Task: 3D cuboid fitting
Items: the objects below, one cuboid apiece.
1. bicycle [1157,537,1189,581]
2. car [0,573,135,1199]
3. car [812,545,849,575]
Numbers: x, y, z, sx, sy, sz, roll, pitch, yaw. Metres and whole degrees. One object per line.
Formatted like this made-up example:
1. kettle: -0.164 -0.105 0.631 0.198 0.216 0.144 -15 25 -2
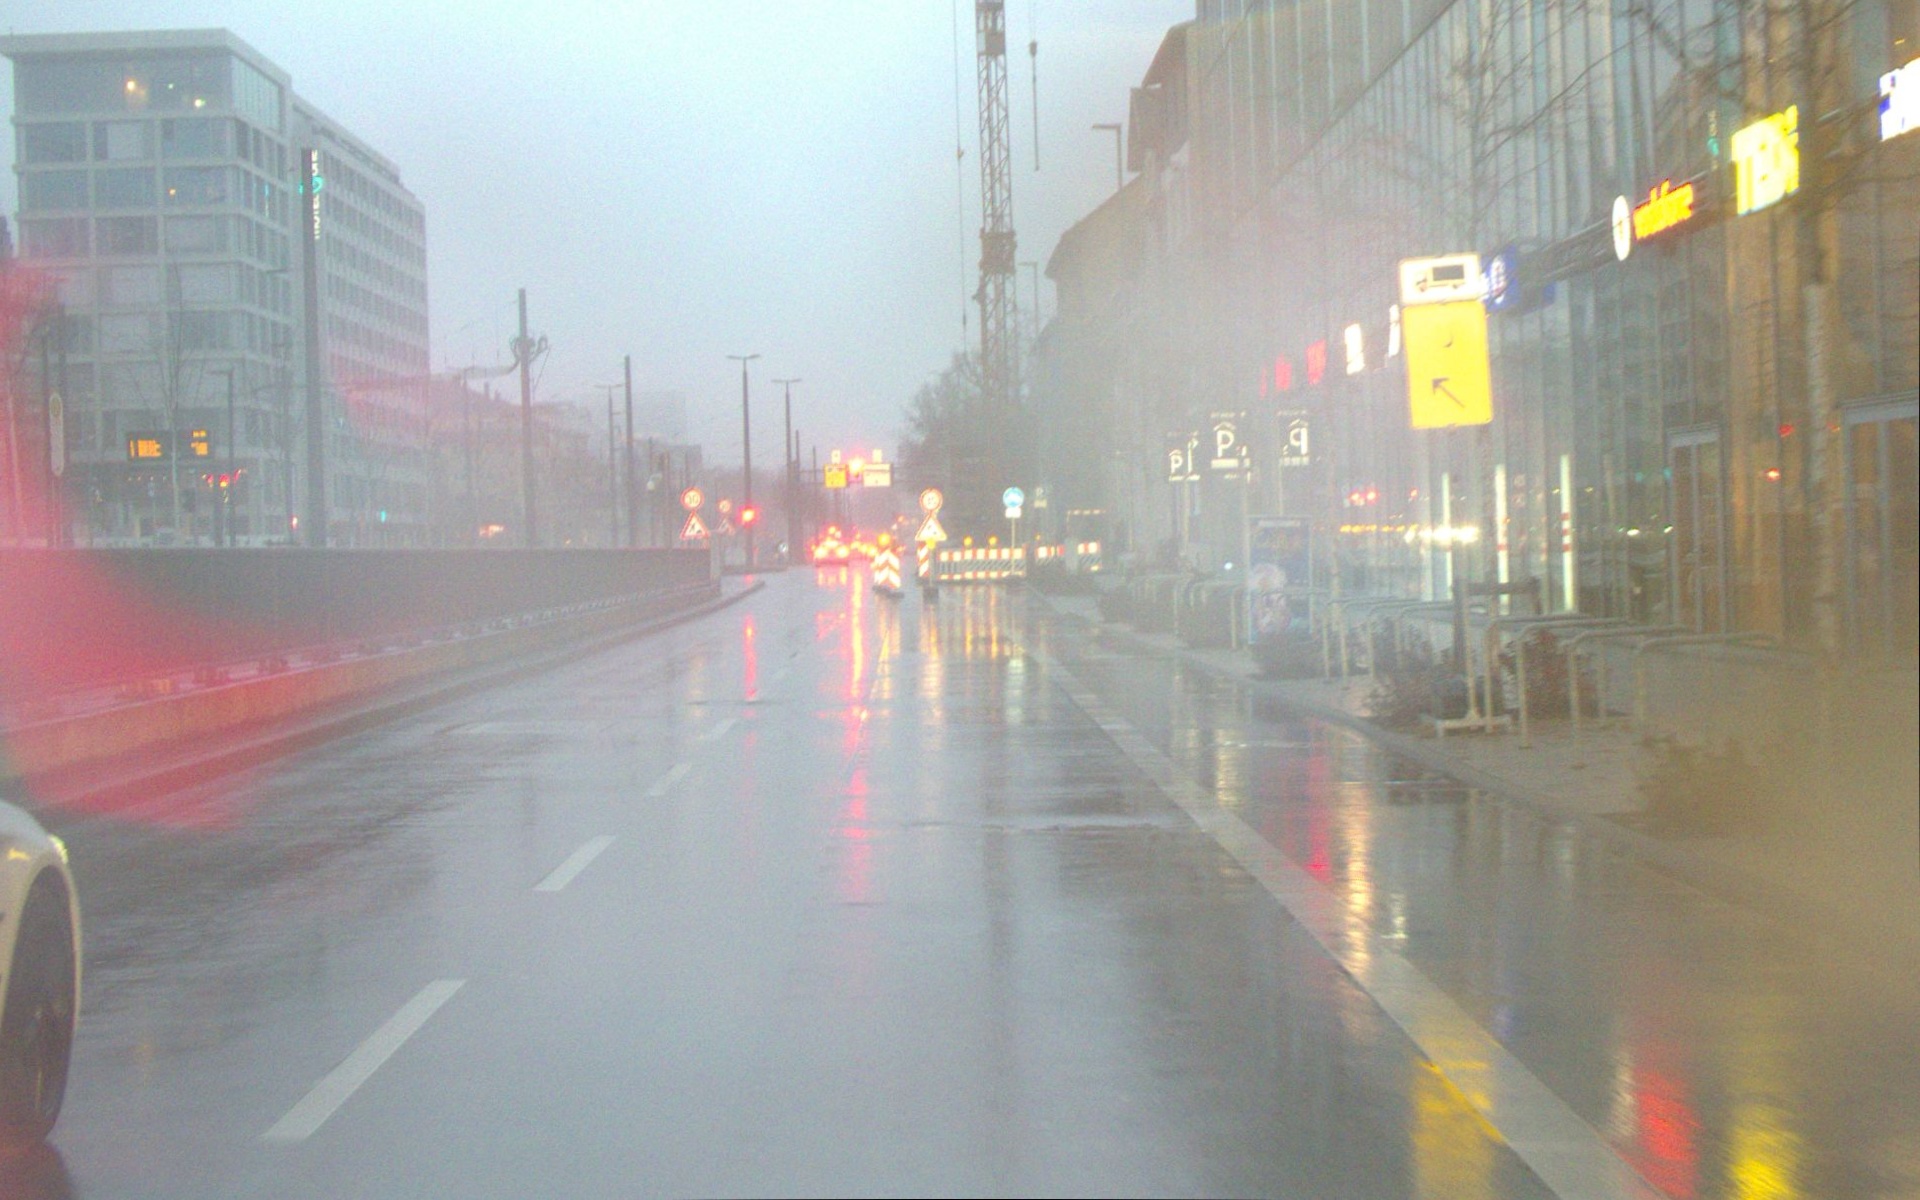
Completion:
1. bicycle: 6.189 -1.186 100.023 0.682 1.218 1.906 -4 1 -2
2. car: -3.158 0.703 6.791 1.852 1.460 4.947 0 1 0
3. car: -7.106 -2.188 188.926 1.901 1.636 4.000 0 1 -1
